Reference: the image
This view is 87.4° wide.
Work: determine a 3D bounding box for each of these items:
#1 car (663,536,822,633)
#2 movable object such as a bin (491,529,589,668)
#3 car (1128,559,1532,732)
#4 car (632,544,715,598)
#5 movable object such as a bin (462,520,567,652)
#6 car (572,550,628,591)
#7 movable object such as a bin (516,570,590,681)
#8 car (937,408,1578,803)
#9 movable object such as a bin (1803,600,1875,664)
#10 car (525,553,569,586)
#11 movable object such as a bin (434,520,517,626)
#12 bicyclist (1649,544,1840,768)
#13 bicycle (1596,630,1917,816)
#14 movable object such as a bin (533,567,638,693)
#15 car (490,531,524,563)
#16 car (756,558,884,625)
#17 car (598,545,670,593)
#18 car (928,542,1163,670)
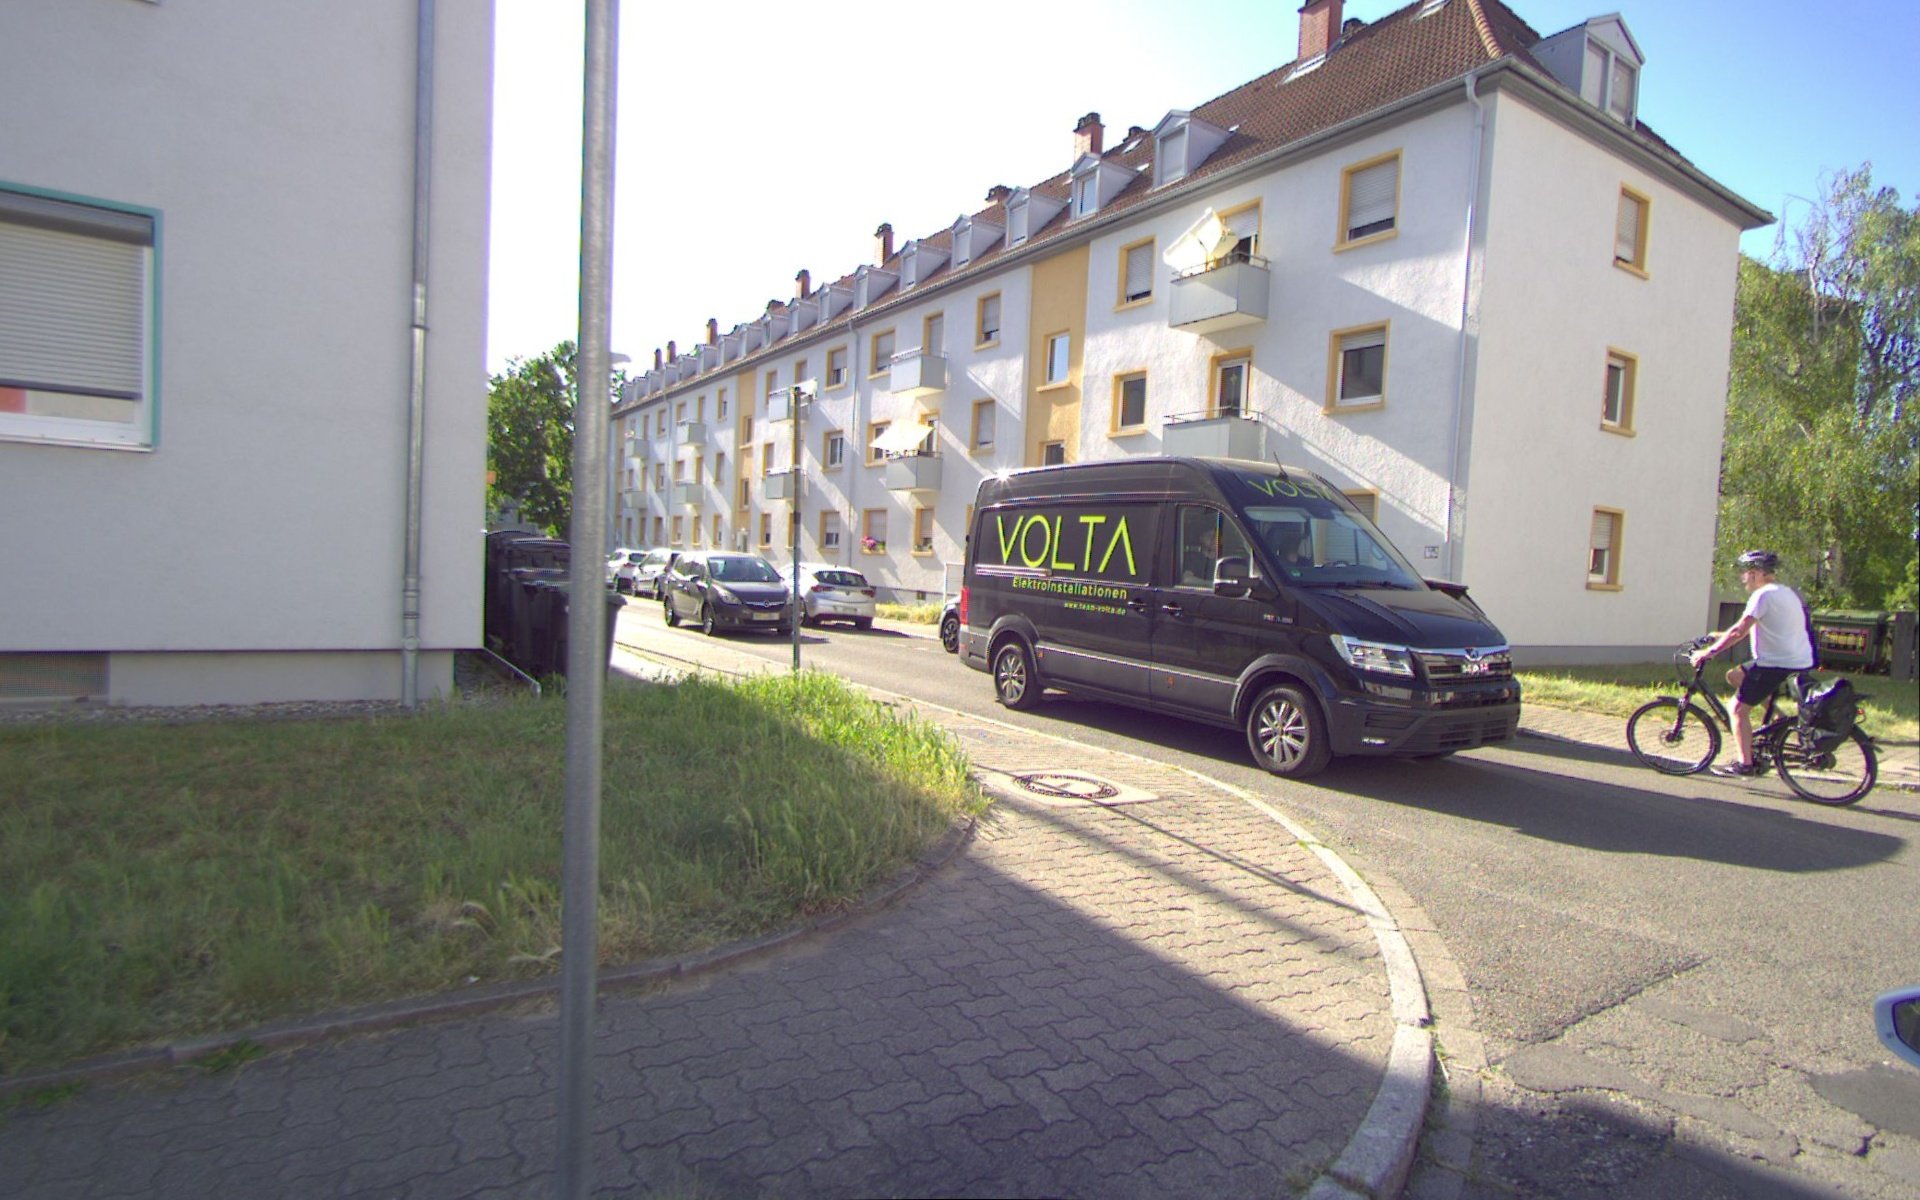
[{"bbox_3d":[-4.446,-0.317,20.121,1.845,1.718,3.964,1,1,-32],"label":"car"},{"bbox_3d":[-4.602,-0.032,10.974,0.837,1.419,1.057,2,3,-30],"label":"movable object such as a bin"},{"bbox_3d":[4.247,0.417,12.312,1.701,1.685,4.462,3,1,-32],"label":"car"},{"bbox_3d":[-9.845,-0.984,34.333,1.766,1.679,3.535,1,1,-33],"label":"car"},{"bbox_3d":[-5.489,-0.179,12.342,1.032,1.530,1.133,2,3,-30],"label":"movable object such as a bin"},{"bbox_3d":[-16.114,-1.307,44.896,1.763,1.679,3.539,1,1,-29],"label":"car"},{"bbox_3d":[-3.705,0.224,9.135,0.527,0.962,0.495,1,2,-33],"label":"movable object such as a bin"},{"bbox_3d":[2.211,-0.088,9.583,1.979,2.579,5.905,1,2,-33],"label":"car"},{"bbox_3d":[20.892,0.749,23.887,0.993,1.454,1.053,1,1,-35],"label":"movable object such as a bin"},{"bbox_3d":[-22.266,-1.620,54.067,1.763,1.679,3.539,1,1,-29],"label":"car"},{"bbox_3d":[-7.419,-0.420,15.358,1.032,1.530,1.215,2,3,-30],"label":"movable object such as a bin"},{"bbox_3d":[5.973,0.398,7.687,0.589,1.600,0.902,2,2,-21],"label":"bicyclist"},{"bbox_3d":[5.965,0.864,7.673,0.620,1.130,1.807,3,1,-21],"label":"bicycle"},{"bbox_3d":[-3.227,0.243,8.641,0.707,1.005,0.609,1,3,-34],"label":"movable object such as a bin"},{"bbox_3d":[-30.471,-3.528,67.487,1.763,1.933,3.539,1,1,-29],"label":"car"},{"bbox_3d":[-3.418,-0.222,24.047,1.765,1.401,3.538,4,0,-30],"label":"car"},{"bbox_3d":[-12.570,-1.185,38.617,1.766,1.679,3.535,1,1,-33],"label":"car"},{"bbox_3d":[1.260,0.039,16.498,1.701,1.812,3.967,3,1,-33],"label":"car"}]
